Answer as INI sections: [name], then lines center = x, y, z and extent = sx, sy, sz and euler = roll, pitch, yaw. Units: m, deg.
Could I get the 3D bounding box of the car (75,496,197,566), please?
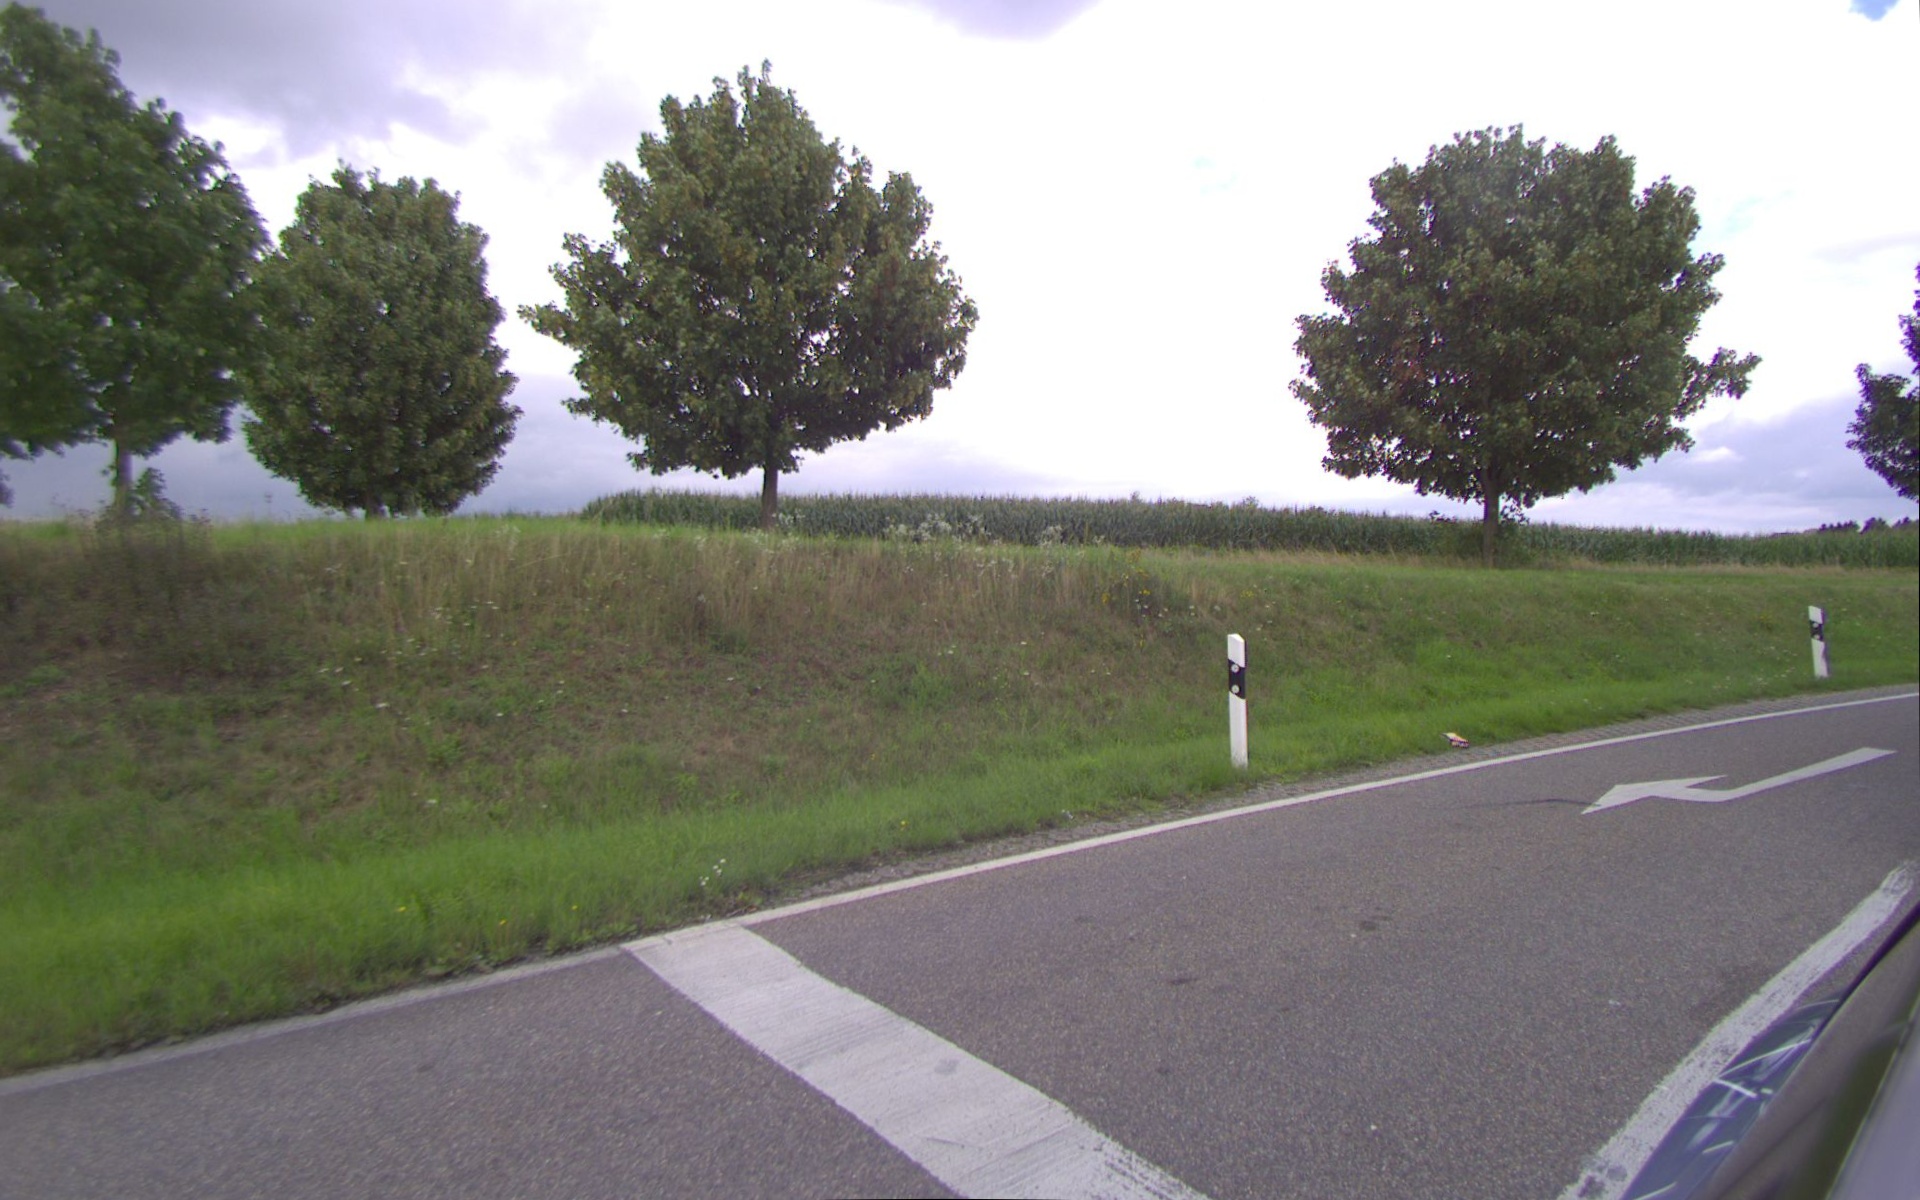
[car]
center = -25.888, -2.094, 31.775
extent = 3.974, 2.038, 1.975
euler = 1, 2, 35

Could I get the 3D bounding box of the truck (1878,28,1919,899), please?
[truck]
center = 8.420, -0.607, 6.000
extent = 8.638, 3.810, 2.838
euler = -1, 2, -37
